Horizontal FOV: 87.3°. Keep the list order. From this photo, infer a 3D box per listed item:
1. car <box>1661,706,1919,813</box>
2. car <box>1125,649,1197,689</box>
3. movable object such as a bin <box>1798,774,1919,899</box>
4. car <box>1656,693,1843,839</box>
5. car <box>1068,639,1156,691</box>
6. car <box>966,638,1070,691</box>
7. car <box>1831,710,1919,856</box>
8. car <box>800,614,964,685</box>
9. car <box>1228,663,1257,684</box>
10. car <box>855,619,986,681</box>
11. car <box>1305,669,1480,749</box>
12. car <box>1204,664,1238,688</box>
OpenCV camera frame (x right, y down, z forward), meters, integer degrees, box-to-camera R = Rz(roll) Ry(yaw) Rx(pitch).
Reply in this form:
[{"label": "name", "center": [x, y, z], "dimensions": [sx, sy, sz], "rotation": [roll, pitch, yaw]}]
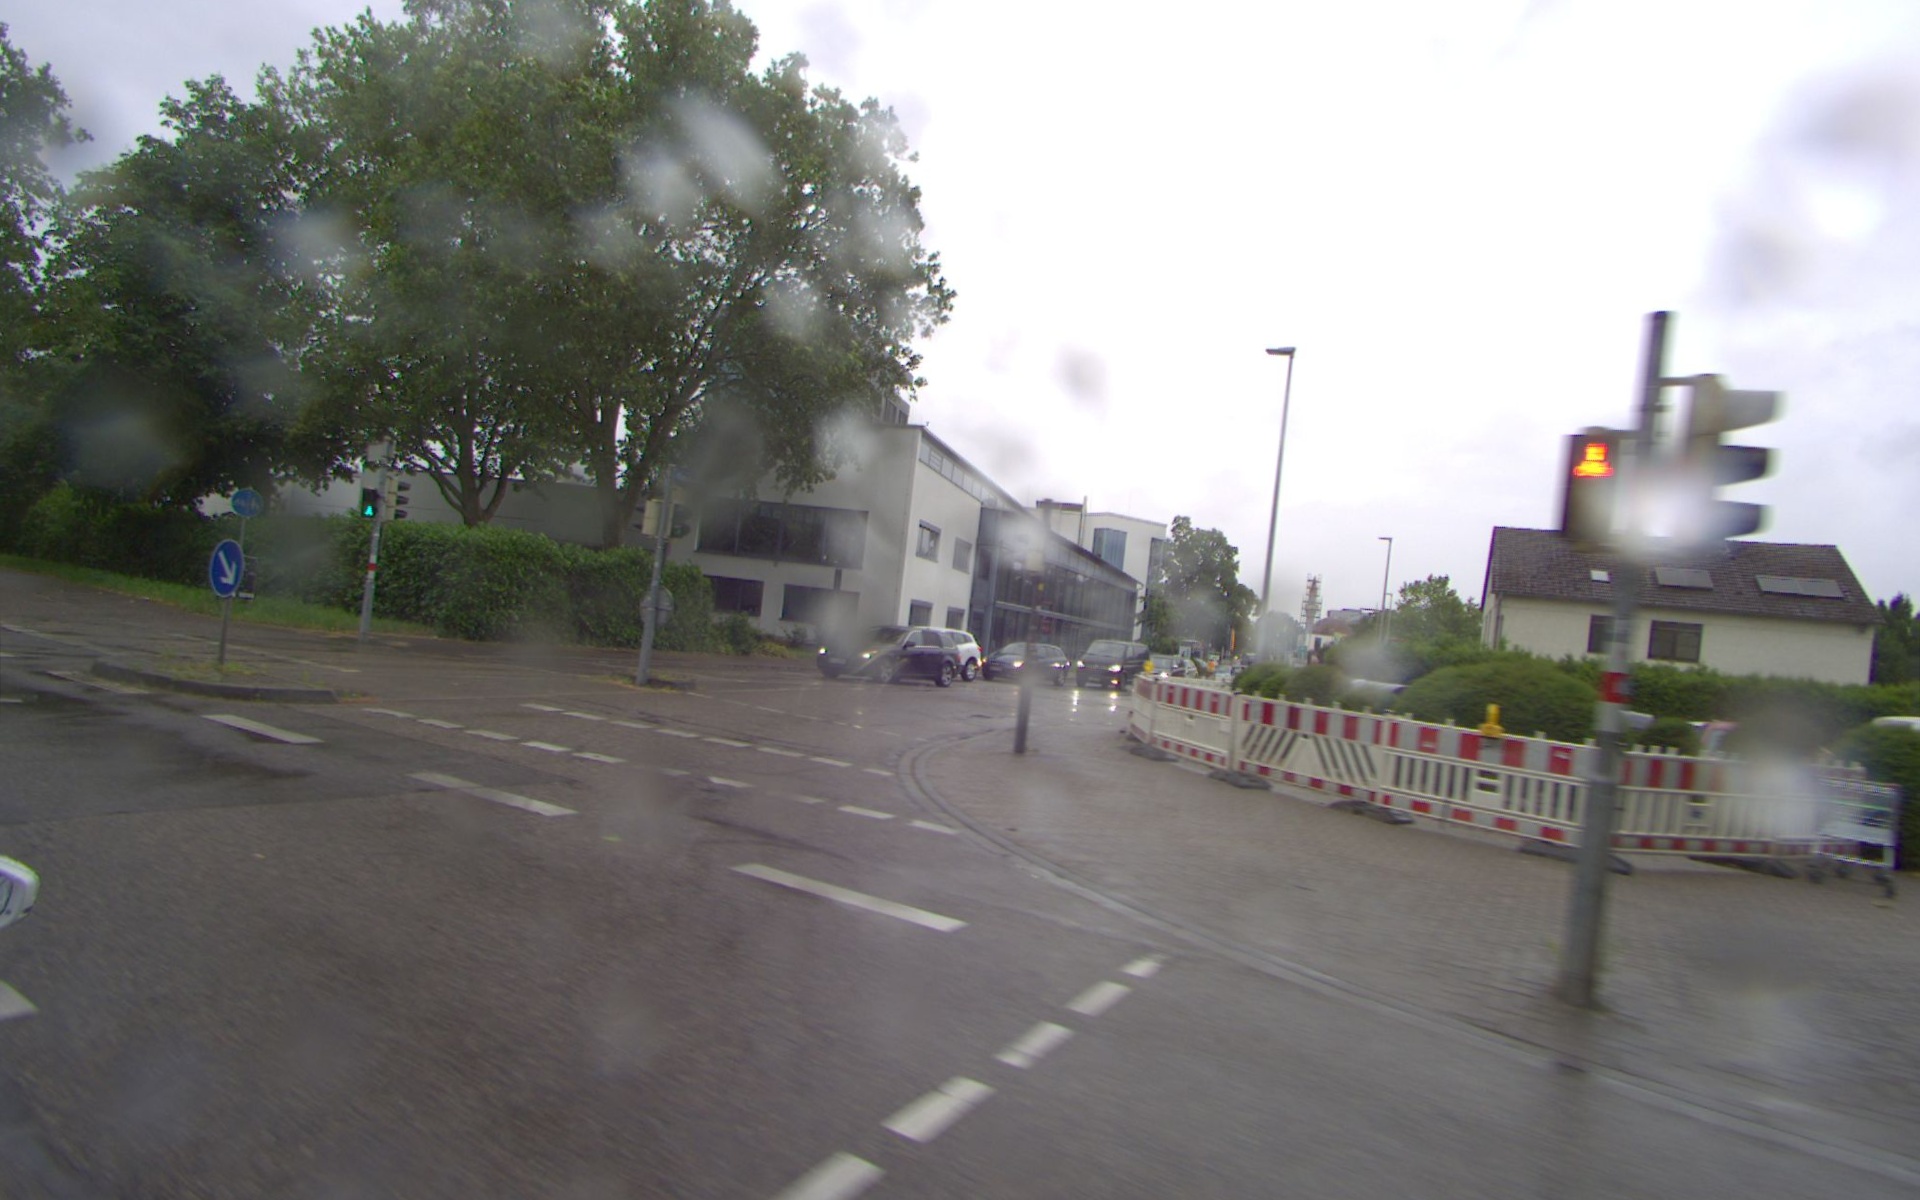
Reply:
[{"label": "car", "center": [18.366, 3.452, 22.429], "dimensions": [4.235, 1.609, 1.823], "rotation": [5, -1, 31]}, {"label": "car", "center": [9.464, 3.249, 47.086], "dimensions": [1.796, 1.609, 4.297], "rotation": [6, -1, 32]}, {"label": "movable object such as a bin", "center": [8.477, 2.173, 9.415], "dimensions": [1.066, 0.980, 0.705], "rotation": [6, -2, -37]}, {"label": "car", "center": [11.442, 2.276, 14.565], "dimensions": [1.801, 1.609, 4.287], "rotation": [4, -2, 40]}, {"label": "car", "center": [6.195, 2.650, 40.594], "dimensions": [1.796, 1.819, 4.475], "rotation": [6, -1, 32]}, {"label": "car", "center": [2.168, 2.360, 36.305], "dimensions": [1.796, 1.609, 4.297], "rotation": [6, -1, 32]}, {"label": "car", "center": [13.958, 2.584, 13.967], "dimensions": [1.750, 1.778, 4.546], "rotation": [6, -1, 29]}, {"label": "car", "center": [-1.865, 1.304, 25.463], "dimensions": [1.822, 1.501, 4.383], "rotation": [4, -2, 32]}, {"label": "car", "center": [25.055, 6.519, 89.032], "dimensions": [1.793, 1.609, 4.305], "rotation": [6, -1, 23]}, {"label": "car", "center": [-1.144, 1.596, 31.273], "dimensions": [1.857, 1.609, 4.297], "rotation": [6, -1, 32]}, {"label": "car", "center": [11.583, 2.860, 26.977], "dimensions": [3.994, 1.551, 1.823], "rotation": [5, -1, 31]}, {"label": "car", "center": [20.219, 5.856, 77.826], "dimensions": [1.793, 1.609, 4.305], "rotation": [6, -1, 23]}]
